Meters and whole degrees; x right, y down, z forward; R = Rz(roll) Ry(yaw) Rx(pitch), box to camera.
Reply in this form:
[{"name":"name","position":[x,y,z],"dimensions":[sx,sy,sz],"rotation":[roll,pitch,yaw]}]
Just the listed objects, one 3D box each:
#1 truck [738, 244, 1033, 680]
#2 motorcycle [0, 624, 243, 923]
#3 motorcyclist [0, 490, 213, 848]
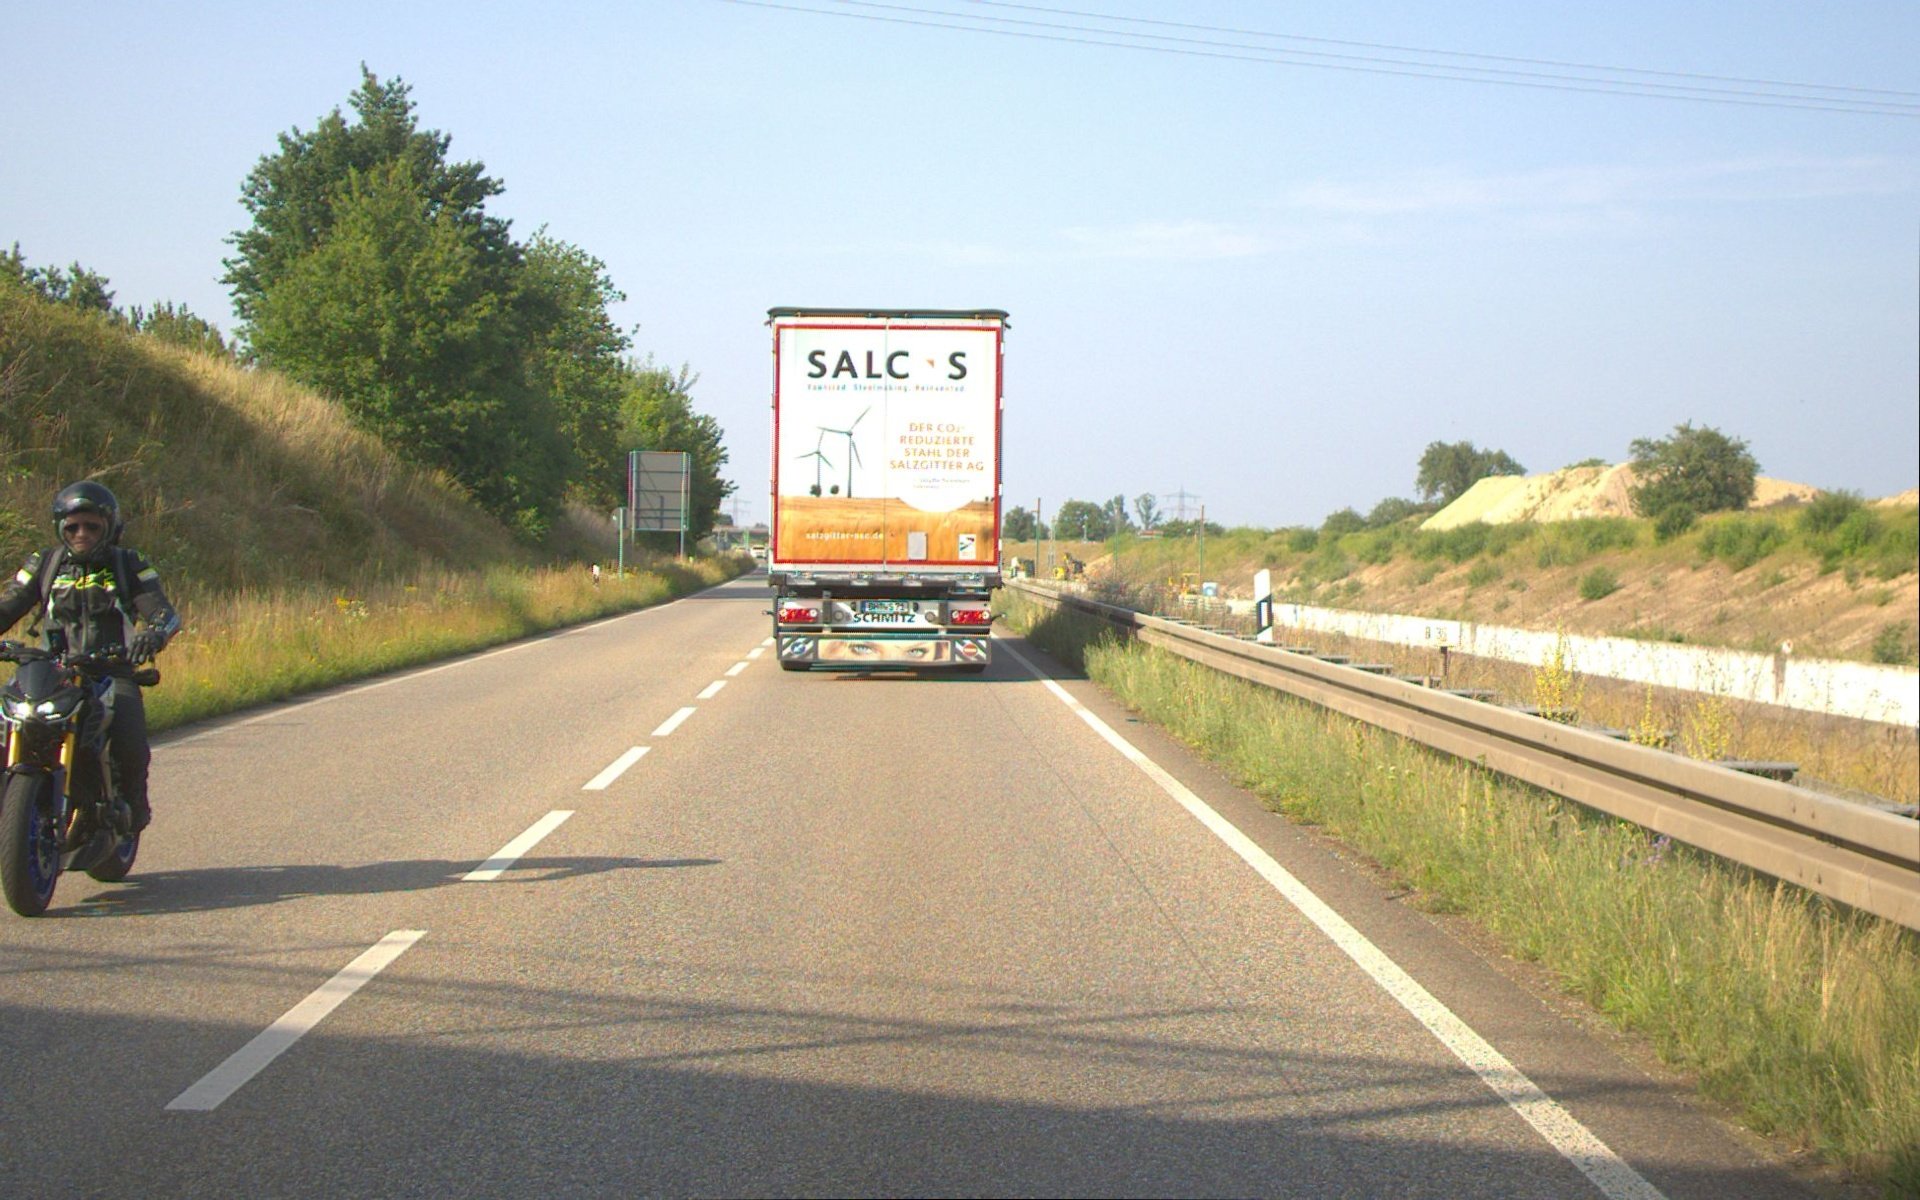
[{"name":"truck","position":[-1.002,-1.545,41.292],"dimensions":[3.152,4.672,8.442],"rotation":[0,1,-3]},{"name":"motorcycle","position":[-3.698,0.686,14.480],"dimensions":[1.041,1.113,2.133],"rotation":[0,1,-4]},{"name":"motorcyclist","position":[-3.719,0.268,14.546],"dimensions":[0.879,1.446,1.284],"rotation":[0,1,-3]}]
